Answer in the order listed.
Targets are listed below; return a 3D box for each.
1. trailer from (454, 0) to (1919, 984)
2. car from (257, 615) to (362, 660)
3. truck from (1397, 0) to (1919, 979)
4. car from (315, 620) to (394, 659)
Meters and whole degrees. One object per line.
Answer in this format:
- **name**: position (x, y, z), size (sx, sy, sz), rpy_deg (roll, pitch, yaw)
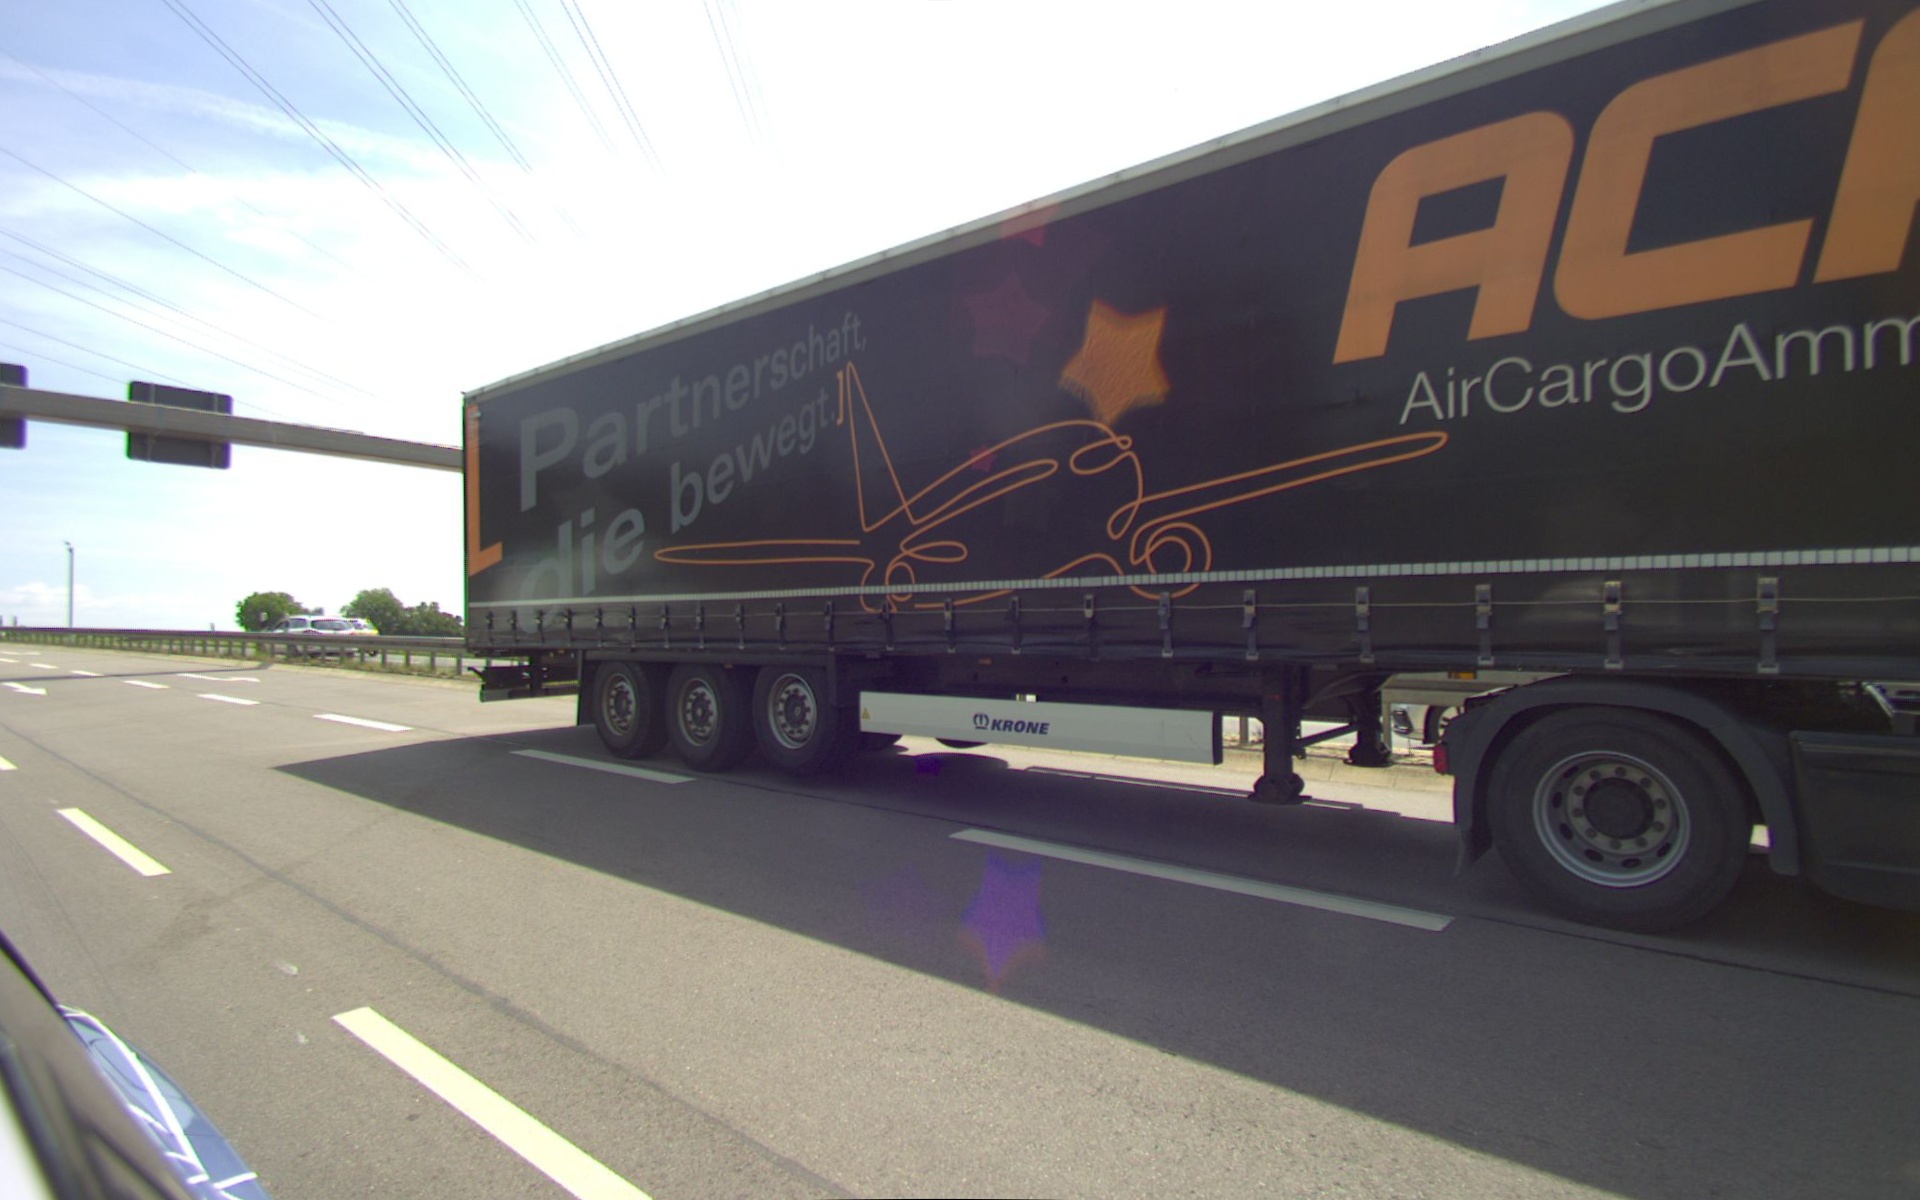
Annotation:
- **trailer**: position (0.331, -0.532, 8.161), size (13.777, 3.943, 2.755), rpy_deg (-1, 0, 41)
- **car**: position (-22.247, 1.256, 34.542), size (4.320, 1.454, 1.719), rpy_deg (-1, -3, 39)
- **truck**: position (5.252, -0.677, 3.929), size (5.967, 4.043, 2.755), rpy_deg (-1, 0, 41)
- **car**: position (-24.457, 1.593, 40.834), size (3.700, 1.492, 1.499), rpy_deg (-1, -4, 39)
